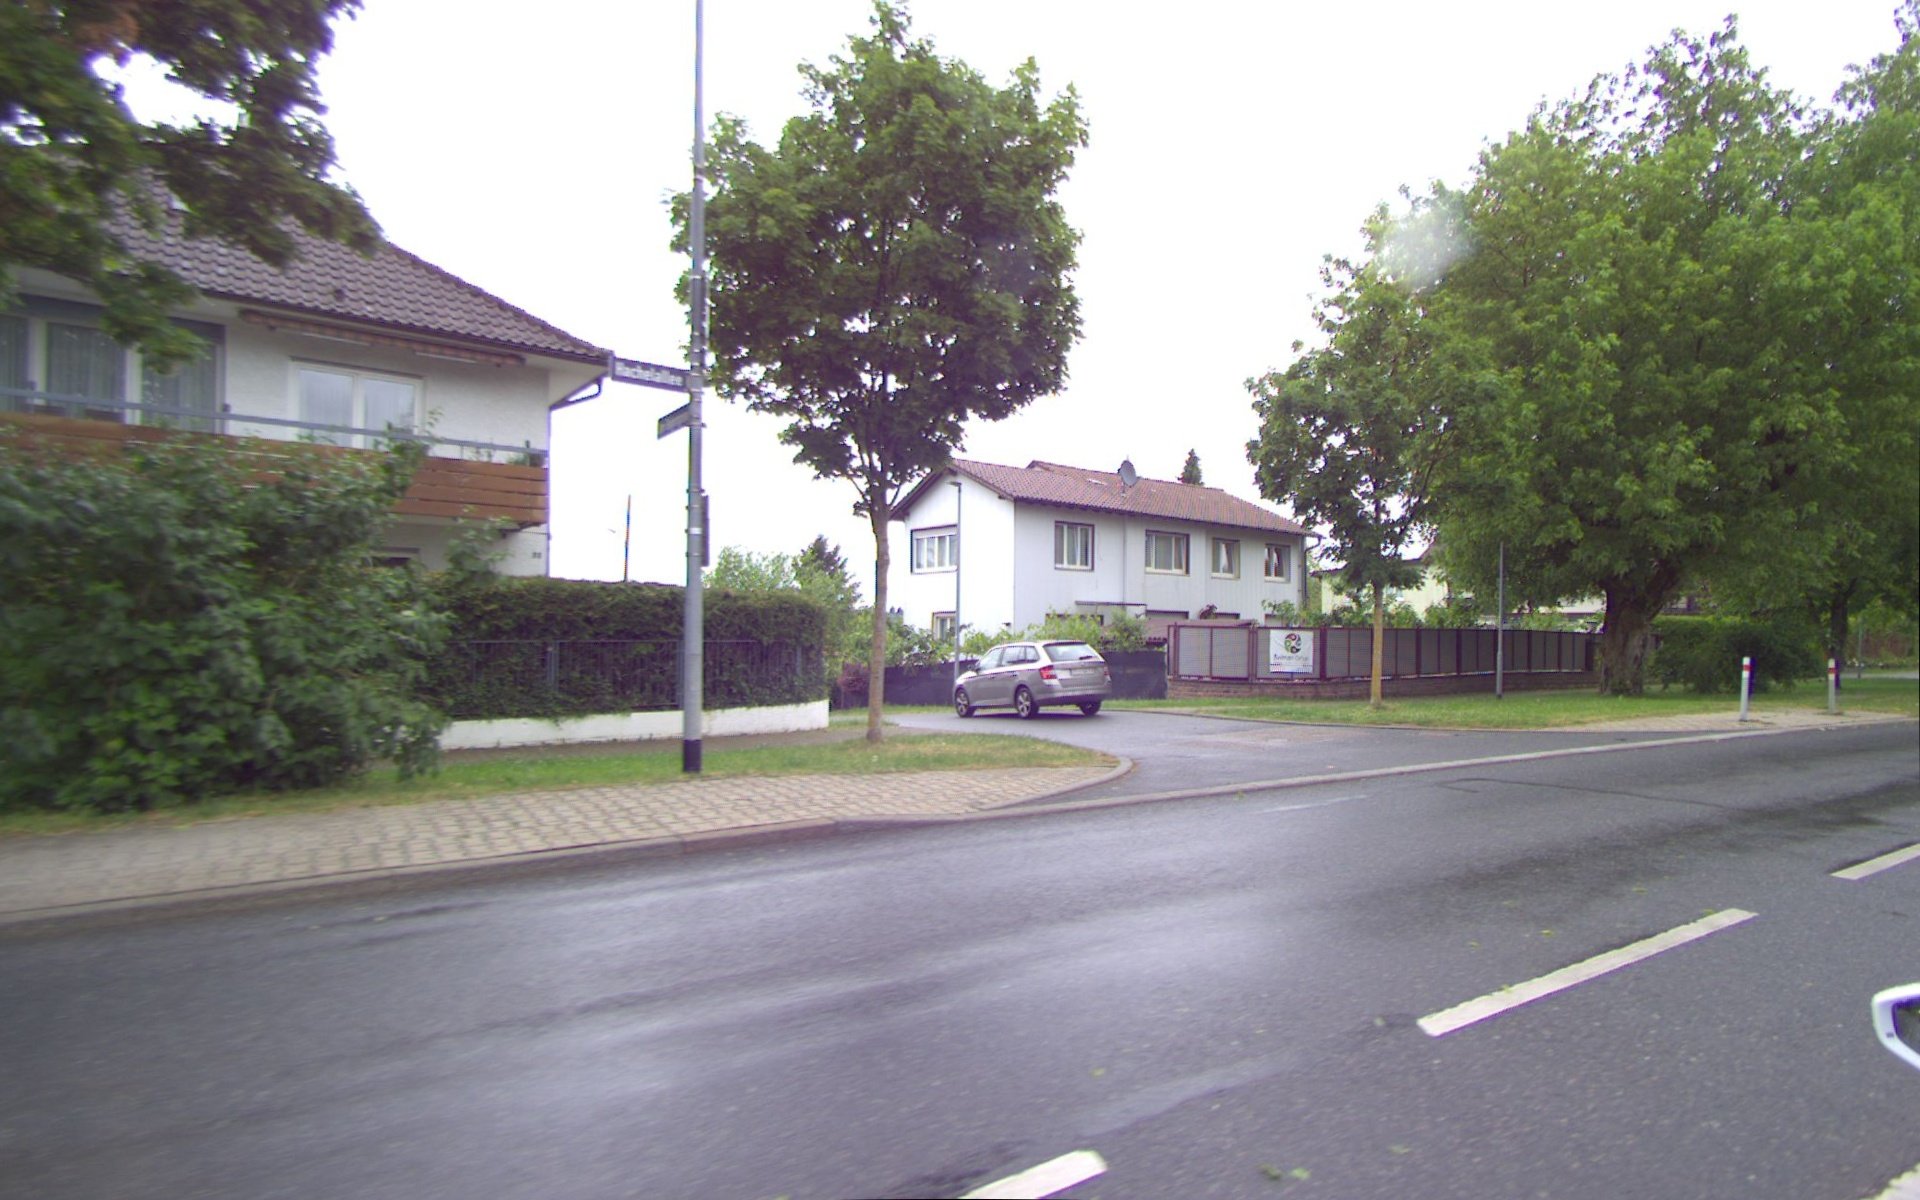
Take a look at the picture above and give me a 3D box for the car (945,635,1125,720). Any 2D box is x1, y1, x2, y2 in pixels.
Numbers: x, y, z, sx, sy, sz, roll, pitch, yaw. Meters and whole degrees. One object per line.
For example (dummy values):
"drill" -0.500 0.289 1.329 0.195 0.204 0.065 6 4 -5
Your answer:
"car" 1.376 1.493 20.026 1.823 1.506 3.974 2 -3 -27
